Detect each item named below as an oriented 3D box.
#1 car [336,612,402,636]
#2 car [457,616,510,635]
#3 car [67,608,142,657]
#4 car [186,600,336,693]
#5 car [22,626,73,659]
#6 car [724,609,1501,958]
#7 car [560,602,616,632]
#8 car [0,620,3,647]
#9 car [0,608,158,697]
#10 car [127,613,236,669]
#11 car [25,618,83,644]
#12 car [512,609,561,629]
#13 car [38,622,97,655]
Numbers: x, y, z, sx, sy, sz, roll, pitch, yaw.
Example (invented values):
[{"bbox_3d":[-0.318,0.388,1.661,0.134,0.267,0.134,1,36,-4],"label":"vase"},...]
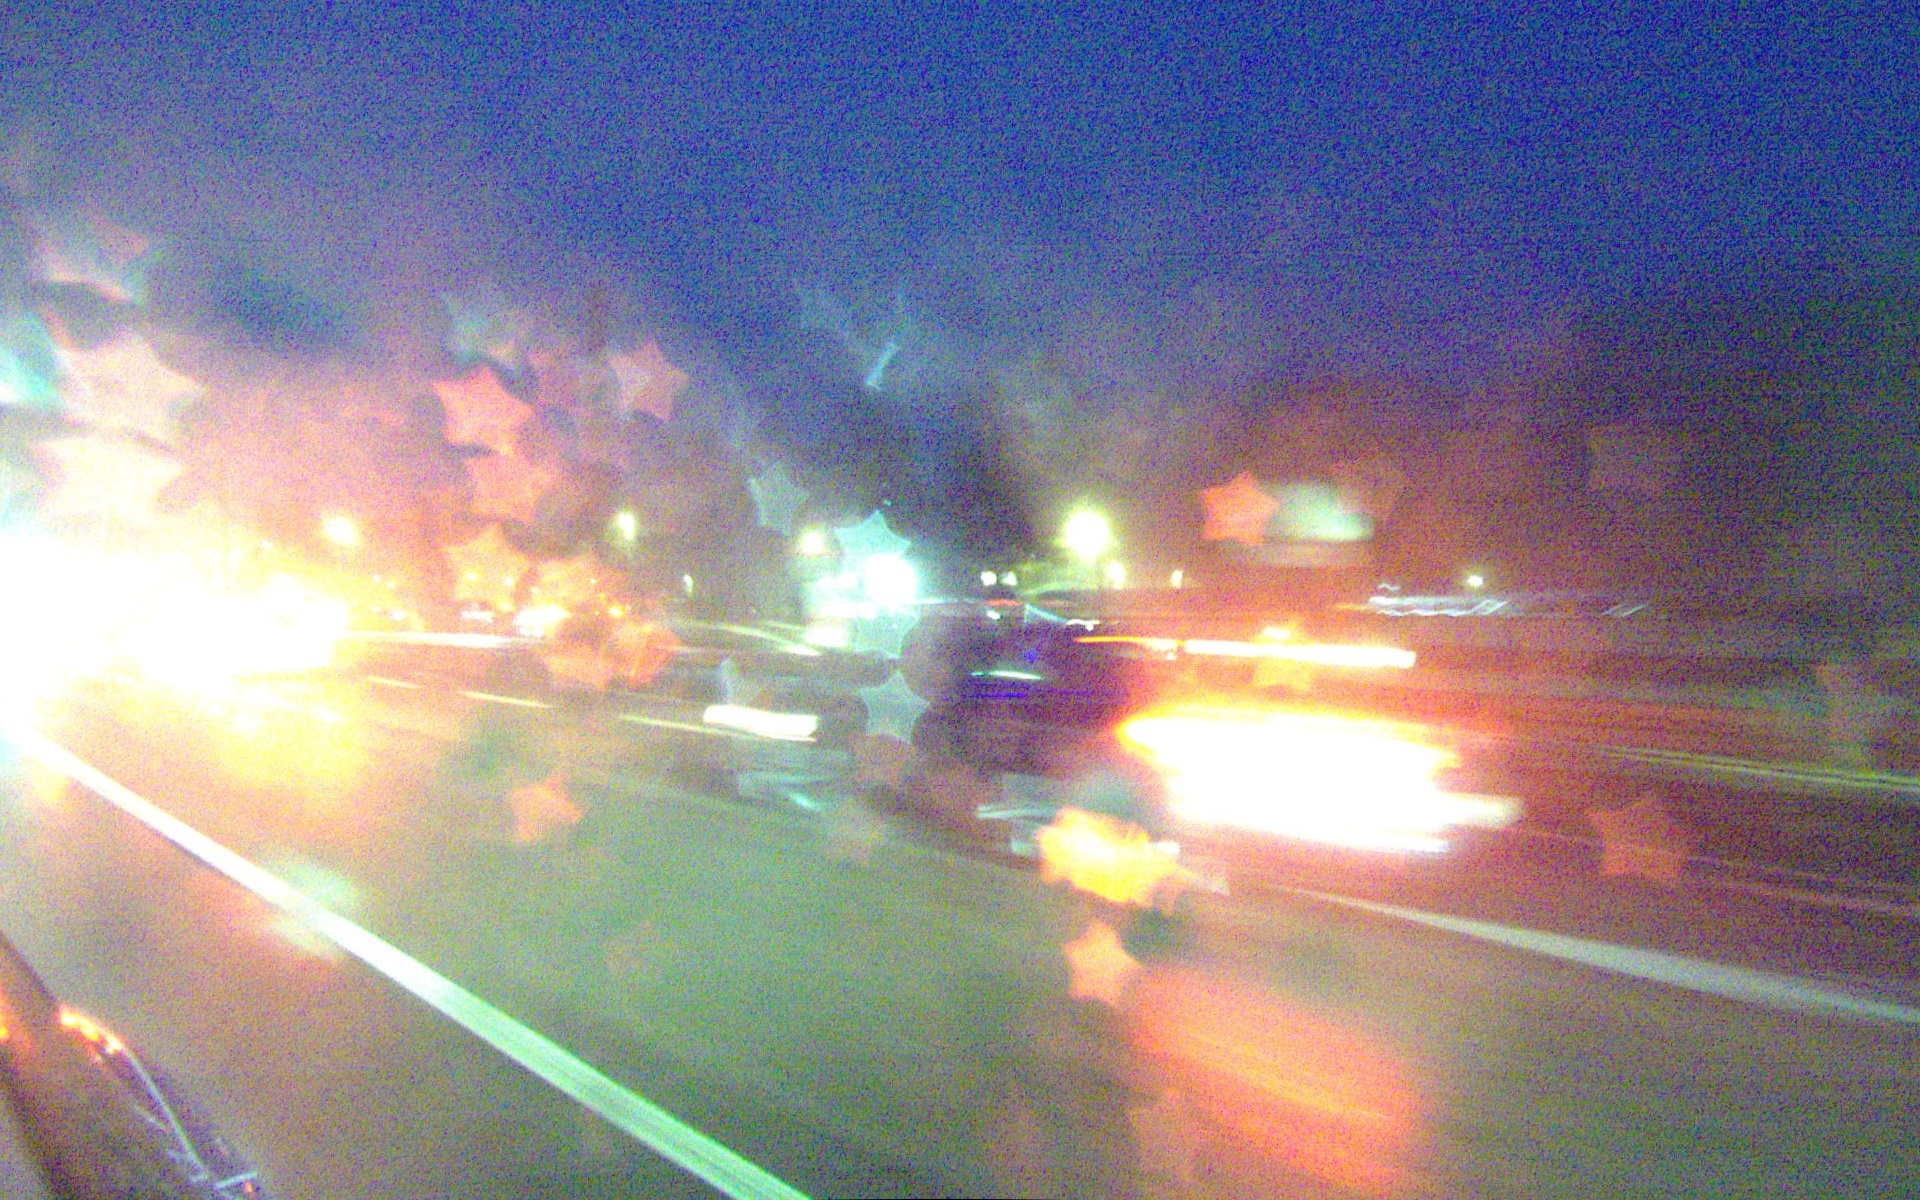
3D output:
[{"bbox_3d":[-48.937,2.007,83.905,4.445,1.858,2.006,1,-3,-24],"label":"car"},{"bbox_3d":[-42.095,2.245,89.412,3.961,1.603,1.991,-1,-1,14],"label":"car"},{"bbox_3d":[-38.285,1.415,45.232,4.997,2.029,2.129,-1,-1,45],"label":"car"},{"bbox_3d":[-16.071,1.000,23.135,1.970,1.879,5.323,1,-2,-44],"label":"car"},{"bbox_3d":[-51.747,2.350,57.338,1.970,1.760,4.501,0,-1,-44],"label":"car"},{"bbox_3d":[0.551,0.786,6.431,1.783,1.393,4.775,0,-1,-44],"label":"car"},{"bbox_3d":[-30.263,1.410,82.225,6.024,2.325,1.971,-1,-1,45],"label":"car"},{"bbox_3d":[-59.532,2.027,61.324,4.466,1.582,1.936,0,0,43],"label":"car"},{"bbox_3d":[-18.046,0.987,20.650,4.681,1.587,2.086,-1,-1,44],"label":"car"},{"bbox_3d":[-23.436,1.193,30.390,2.059,1.554,4.902,1,-2,-44],"label":"car"},{"bbox_3d":[-58.762,1.975,65.598,5.159,1.568,2.333,-1,-1,43],"label":"car"},{"bbox_3d":[-36.462,1.640,87.073,4.437,1.706,1.830,-1,-1,34],"label":"car"},{"bbox_3d":[-43.921,1.878,49.798,3.689,1.540,1.943,-1,-1,45],"label":"car"}]
